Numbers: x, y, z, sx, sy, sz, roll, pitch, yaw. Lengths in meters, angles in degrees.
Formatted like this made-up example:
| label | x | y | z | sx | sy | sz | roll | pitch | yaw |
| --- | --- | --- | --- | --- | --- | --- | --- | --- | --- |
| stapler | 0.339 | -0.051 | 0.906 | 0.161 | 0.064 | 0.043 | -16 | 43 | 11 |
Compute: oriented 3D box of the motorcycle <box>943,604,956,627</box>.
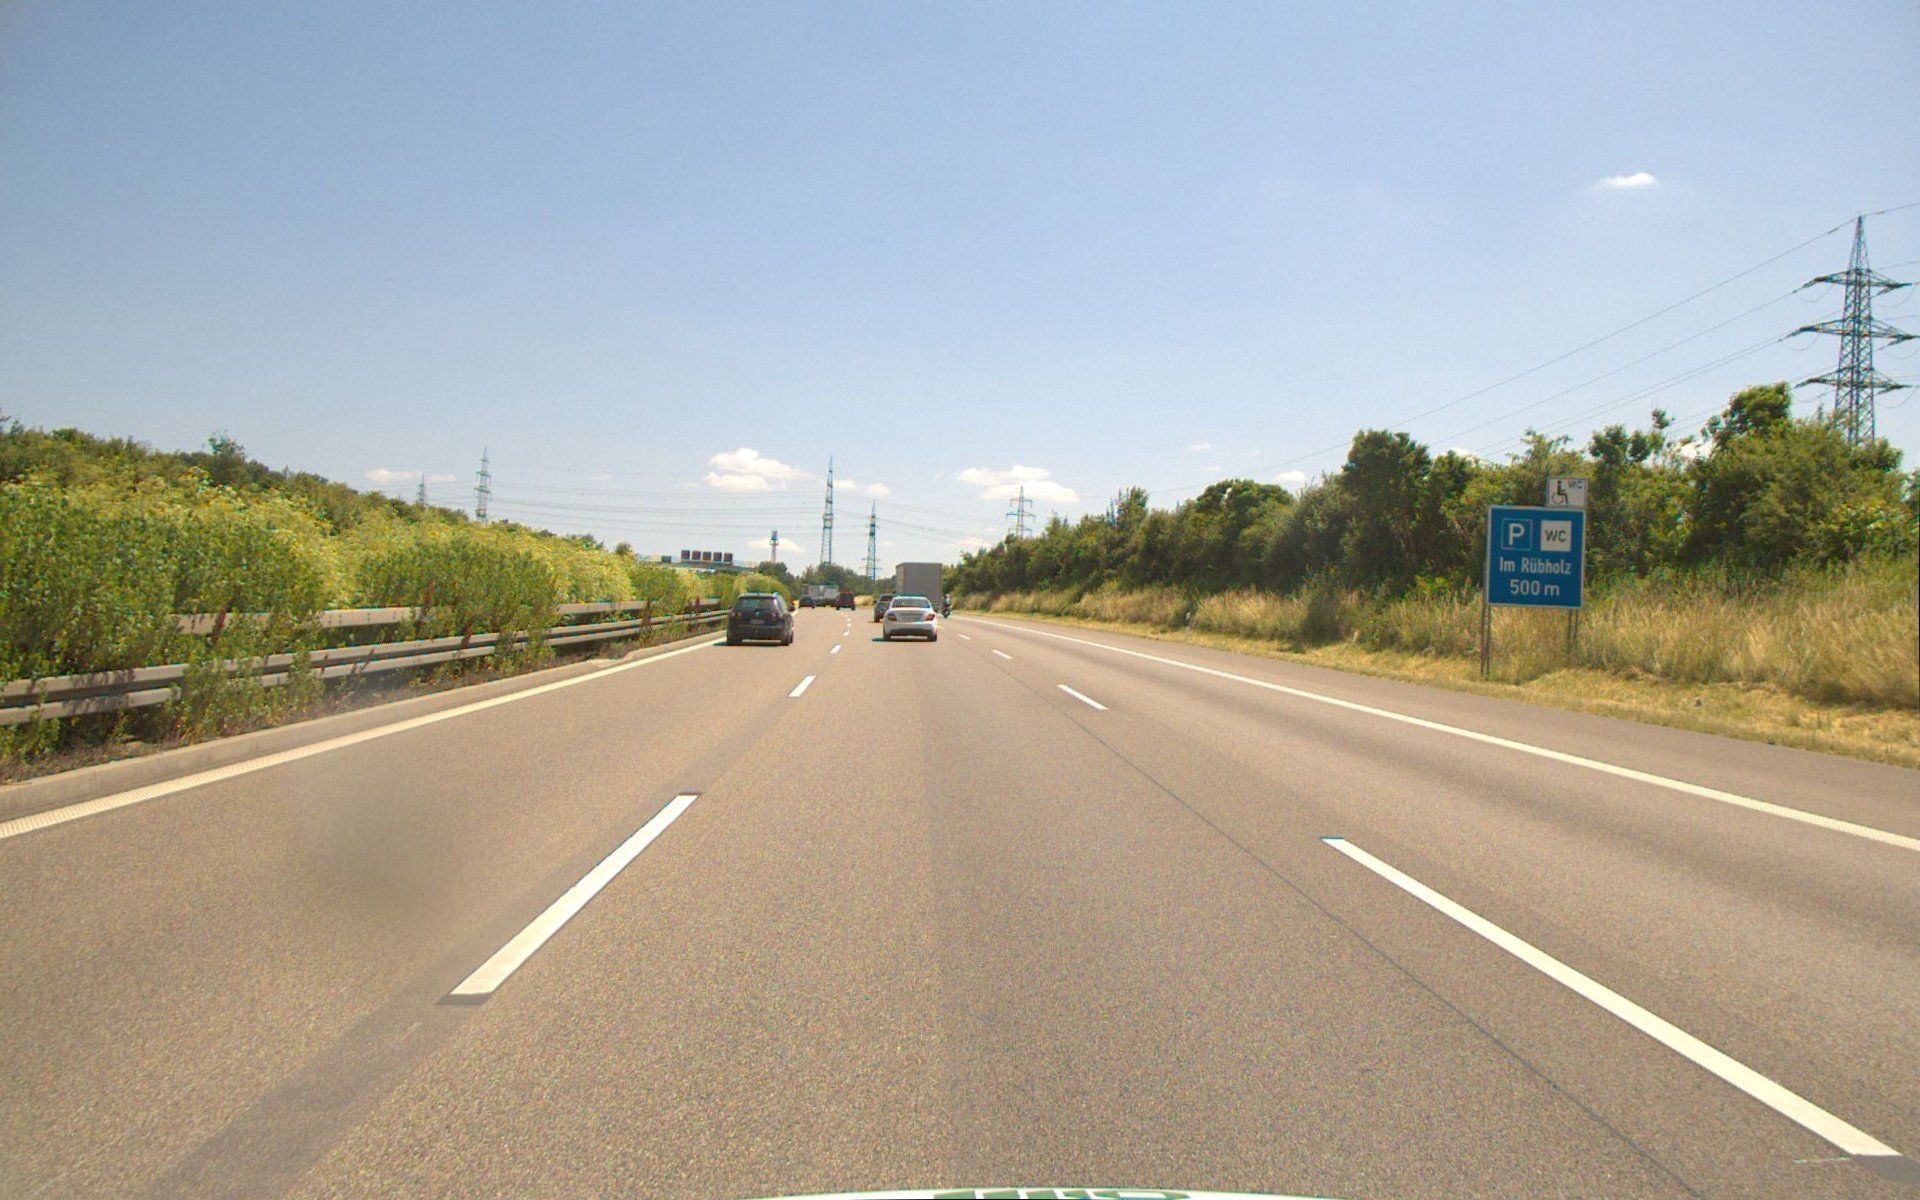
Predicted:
| label | x | y | z | sx | sy | sz | roll | pitch | yaw |
| --- | --- | --- | --- | --- | --- | --- | --- | --- | --- |
| motorcycle | -0.780 | 1.096 | 119.002 | 0.793 | 1.635 | 1.781 | 1 | -1 | -4 |

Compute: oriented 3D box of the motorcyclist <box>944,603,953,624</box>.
| label | x | y | z | sx | sy | sz | roll | pitch | yaw |
| --- | --- | --- | --- | --- | --- | --- | --- | --- | --- |
| motorcyclist | -0.825 | 0.968 | 118.965 | 0.560 | 1.505 | 0.700 | 1 | 0 | -3 |

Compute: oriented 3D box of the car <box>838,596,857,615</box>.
| label | x | y | z | sx | sy | sz | roll | pitch | yaw |
| --- | --- | --- | --- | --- | --- | --- | --- | --- | --- |
| car | -11.680 | 0.541 | 171.705 | 1.864 | 1.959 | 3.997 | 1 | 0 | -4 |

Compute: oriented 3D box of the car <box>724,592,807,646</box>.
| label | x | y | z | sx | sy | sz | roll | pitch | yaw |
| --- | --- | --- | --- | --- | --- | --- | --- | --- | --- |
| car | -5.523 | 0.519 | 47.483 | 1.720 | 1.454 | 4.001 | 1 | 0 | 3 |

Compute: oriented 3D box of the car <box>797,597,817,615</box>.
| label | x | y | z | sx | sy | sz | roll | pitch | yaw |
| --- | --- | --- | --- | --- | --- | --- | --- | --- | --- |
| car | -17.158 | 0.650 | 185.802 | 1.953 | 1.892 | 3.999 | 1 | 0 | -2 |

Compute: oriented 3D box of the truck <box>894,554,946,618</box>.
| label | x | y | z | sx | sy | sz | roll | pitch | yaw |
| --- | --- | --- | --- | --- | --- | --- | --- | --- | --- |
| truck | -2.702 | -0.850 | 108.438 | 3.157 | 3.993 | 9.055 | 1 | 0 | -3 |

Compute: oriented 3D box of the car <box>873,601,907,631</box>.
| label | x | y | z | sx | sy | sz | roll | pitch | yaw |
| --- | --- | --- | --- | --- | --- | --- | --- | --- | --- |
| car | -3.813 | 0.846 | 90.485 | 1.802 | 1.567 | 3.913 | 1 | 0 | -2 |

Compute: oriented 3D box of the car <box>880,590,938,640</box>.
| label | x | y | z | sx | sy | sz | roll | pitch | yaw |
| --- | --- | --- | --- | --- | --- | --- | --- | --- | --- |
| car | -1.703 | 0.471 | 54.481 | 1.783 | 1.567 | 3.912 | 1 | 0 | -3 |
